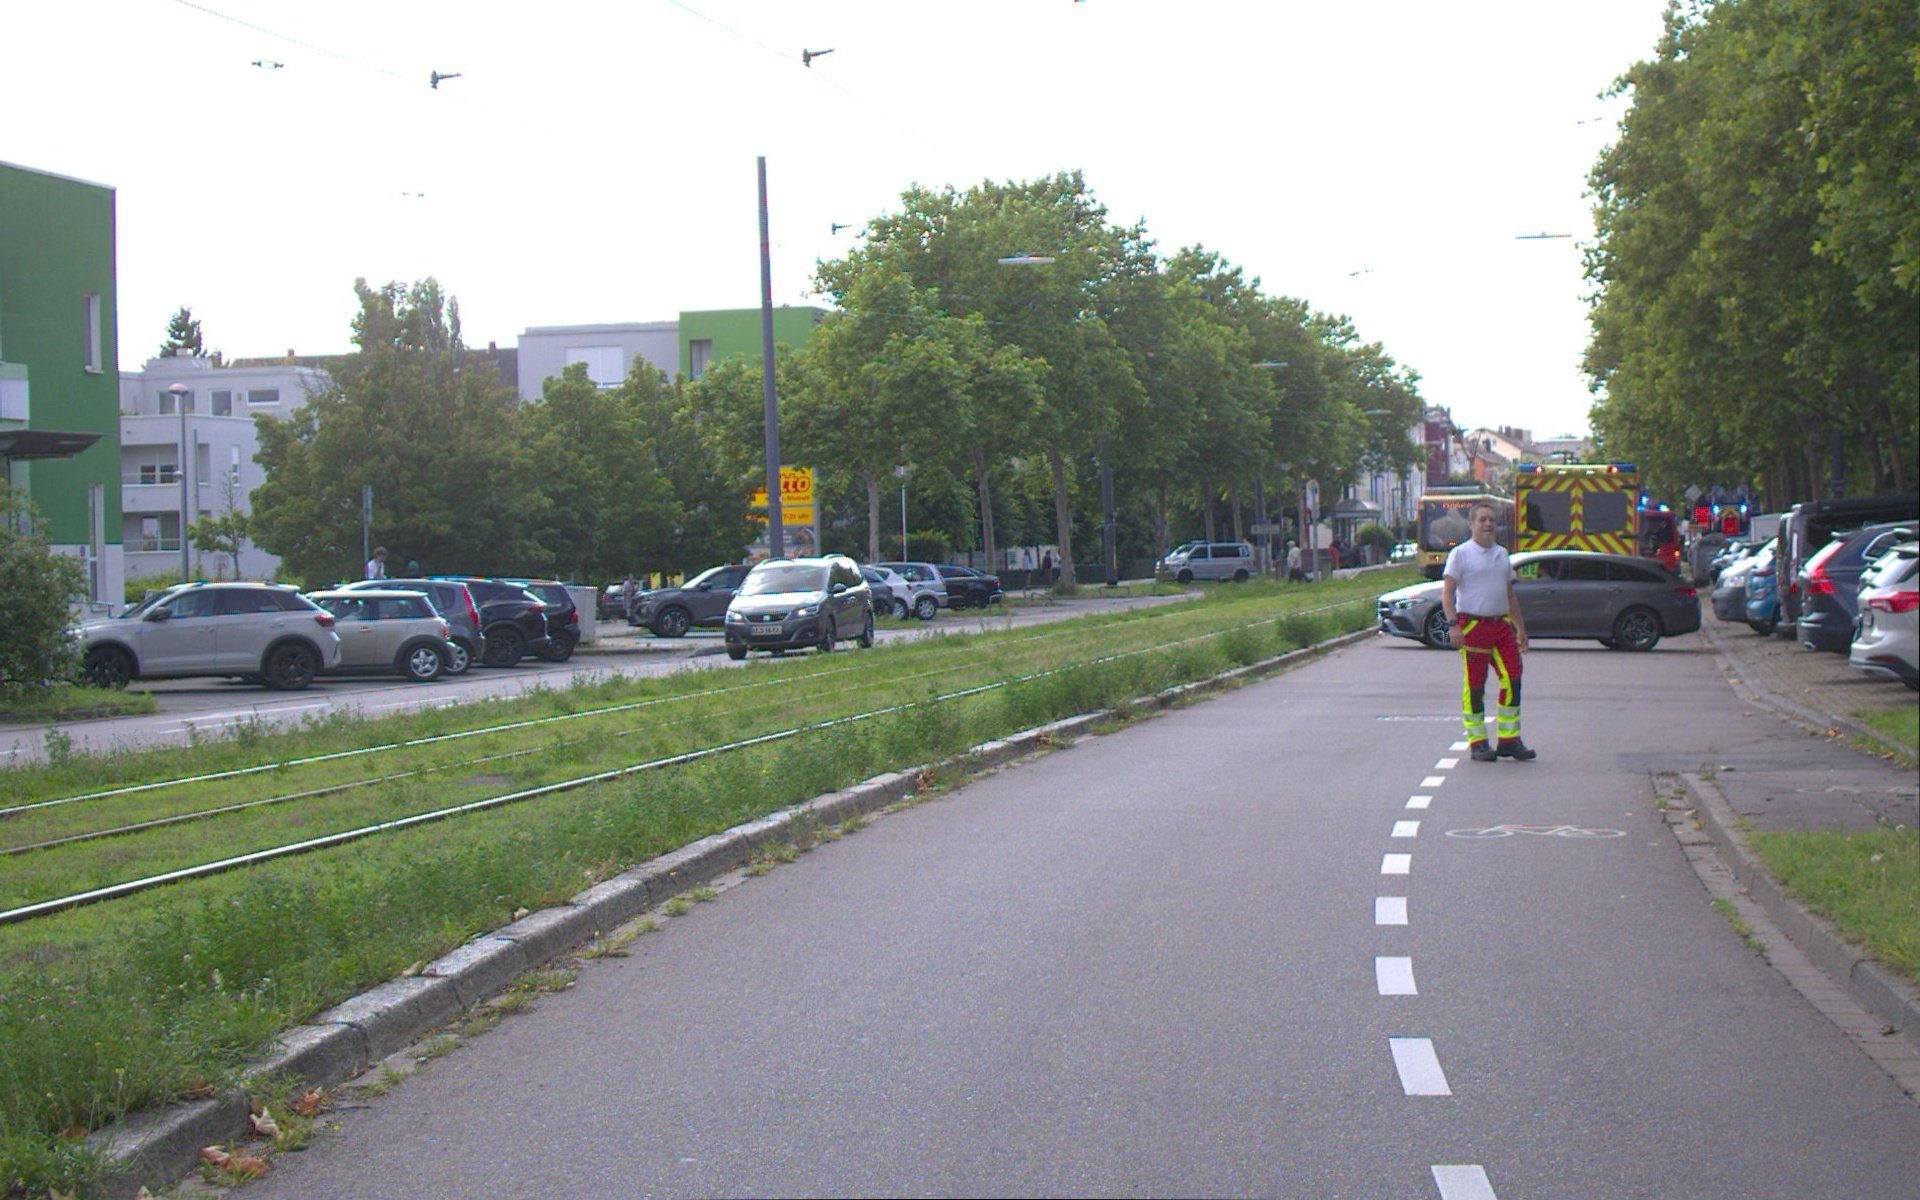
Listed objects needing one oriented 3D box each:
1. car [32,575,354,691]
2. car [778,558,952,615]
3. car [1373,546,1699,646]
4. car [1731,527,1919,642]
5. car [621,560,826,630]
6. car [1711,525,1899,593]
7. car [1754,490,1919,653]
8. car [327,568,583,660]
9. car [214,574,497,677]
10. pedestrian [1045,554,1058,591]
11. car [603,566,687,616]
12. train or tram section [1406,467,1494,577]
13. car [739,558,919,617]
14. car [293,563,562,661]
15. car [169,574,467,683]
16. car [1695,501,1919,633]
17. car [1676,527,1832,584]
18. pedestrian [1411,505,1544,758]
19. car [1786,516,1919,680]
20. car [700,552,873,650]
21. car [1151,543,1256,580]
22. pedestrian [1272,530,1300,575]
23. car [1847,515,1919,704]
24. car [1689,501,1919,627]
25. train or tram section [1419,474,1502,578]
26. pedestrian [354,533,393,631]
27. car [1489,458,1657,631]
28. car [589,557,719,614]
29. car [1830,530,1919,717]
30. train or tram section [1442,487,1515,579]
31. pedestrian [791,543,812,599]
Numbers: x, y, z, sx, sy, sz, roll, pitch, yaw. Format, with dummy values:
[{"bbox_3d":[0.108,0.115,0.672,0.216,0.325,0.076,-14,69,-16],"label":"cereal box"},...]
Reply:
[{"bbox_3d":[-11.011,0.443,49.347,4.220,1.477,1.884,-2,1,-22],"label":"car"},{"bbox_3d":[-2.519,-0.368,91.090,4.220,1.477,1.884,0,0,-24],"label":"car"},{"bbox_3d":[8.381,-0.068,50.277,4.453,1.381,1.767,1,1,0],"label":"car"},{"bbox_3d":[14.377,-0.283,53.243,4.547,1.655,1.855,-2,0,7],"label":"car"},{"bbox_3d":[-5.196,-0.117,75.244,4.220,1.477,1.884,0,0,-13],"label":"car"},{"bbox_3d":[22.023,-1.068,89.746,4.547,1.603,1.855,-2,0,8],"label":"car"},{"bbox_3d":[13.248,-0.439,46.938,4.548,2.116,1.855,-2,0,11],"label":"car"},{"bbox_3d":[-8.999,0.234,61.226,4.220,1.477,1.884,-2,1,-17],"label":"car"},{"bbox_3d":[-9.702,0.388,55.153,4.220,1.477,1.884,-2,1,-17],"label":"car"},{"bbox_3d":[3.662,-1.083,137.233,0.421,1.468,0.467,-1,1,7],"label":"pedestrian"},{"bbox_3d":[-11.513,-0.338,125.734,1.994,1.744,3.998,1,1,11],"label":"car"},{"bbox_3d":[17.107,-2.657,119.724,2.513,3.572,7.441,-3,0,11],"label":"train or tram section"},{"bbox_3d":[-3.358,-0.327,88.172,4.220,1.477,1.884,0,0,-24],"label":"car"},{"bbox_3d":[-9.023,0.184,58.159,4.220,1.477,1.884,-2,1,-17],"label":"car"},{"bbox_3d":[-9.802,0.410,52.420,4.220,1.477,1.884,-2,1,-17],"label":"car"},{"bbox_3d":[14.356,-0.557,55.836,4.547,1.994,1.855,-2,0,8],"label":"car"},{"bbox_3d":[24.824,-1.387,107.629,4.547,1.603,1.855,-2,0,8],"label":"car"},{"bbox_3d":[3.518,0.206,23.425,0.803,1.680,0.851,-1,1,3],"label":"pedestrian"},{"bbox_3d":[10.835,-0.088,35.610,4.383,1.634,1.755,-2,0,14],"label":"car"},{"bbox_3d":[-2.986,-0.009,60.165,1.994,1.552,4.368,-2,1,11],"label":"car"},{"bbox_3d":[11.518,-1.827,162.423,4.612,1.627,1.883,-2,1,-27],"label":"car"},{"bbox_3d":[11.043,-1.609,116.500,0.881,1.520,0.750,1,0,11],"label":"pedestrian"},{"bbox_3d":[10.356,-0.014,30.335,4.660,1.620,1.847,-2,1,8],"label":"car"},{"bbox_3d":[15.218,-0.640,60.347,4.547,2.036,1.855,-2,0,8],"label":"car"},{"bbox_3d":[18.531,-2.678,127.016,2.513,3.572,7.441,-3,0,11],"label":"train or tram section"},{"bbox_3d":[-11.070,-0.343,64.876,0.546,1.822,0.509,-1,1,10],"label":"pedestrian"},{"bbox_3d":[11.339,-1.023,63.240,2.643,2.956,6.296,2,1,13],"label":"car"},{"bbox_3d":[-9.869,-0.481,110.611,3.997,1.744,1.995,2,2,43],"label":"car"},{"bbox_3d":[9.654,0.100,28.196,4.660,1.468,1.847,-2,1,8],"label":"car"},{"bbox_3d":[21.397,-2.720,141.571,2.513,3.572,7.441,-3,0,11],"label":"train or tram section"},{"bbox_3d":[-4.768,-0.882,103.275,0.466,1.671,0.603,-1,1,10],"label":"pedestrian"}]
